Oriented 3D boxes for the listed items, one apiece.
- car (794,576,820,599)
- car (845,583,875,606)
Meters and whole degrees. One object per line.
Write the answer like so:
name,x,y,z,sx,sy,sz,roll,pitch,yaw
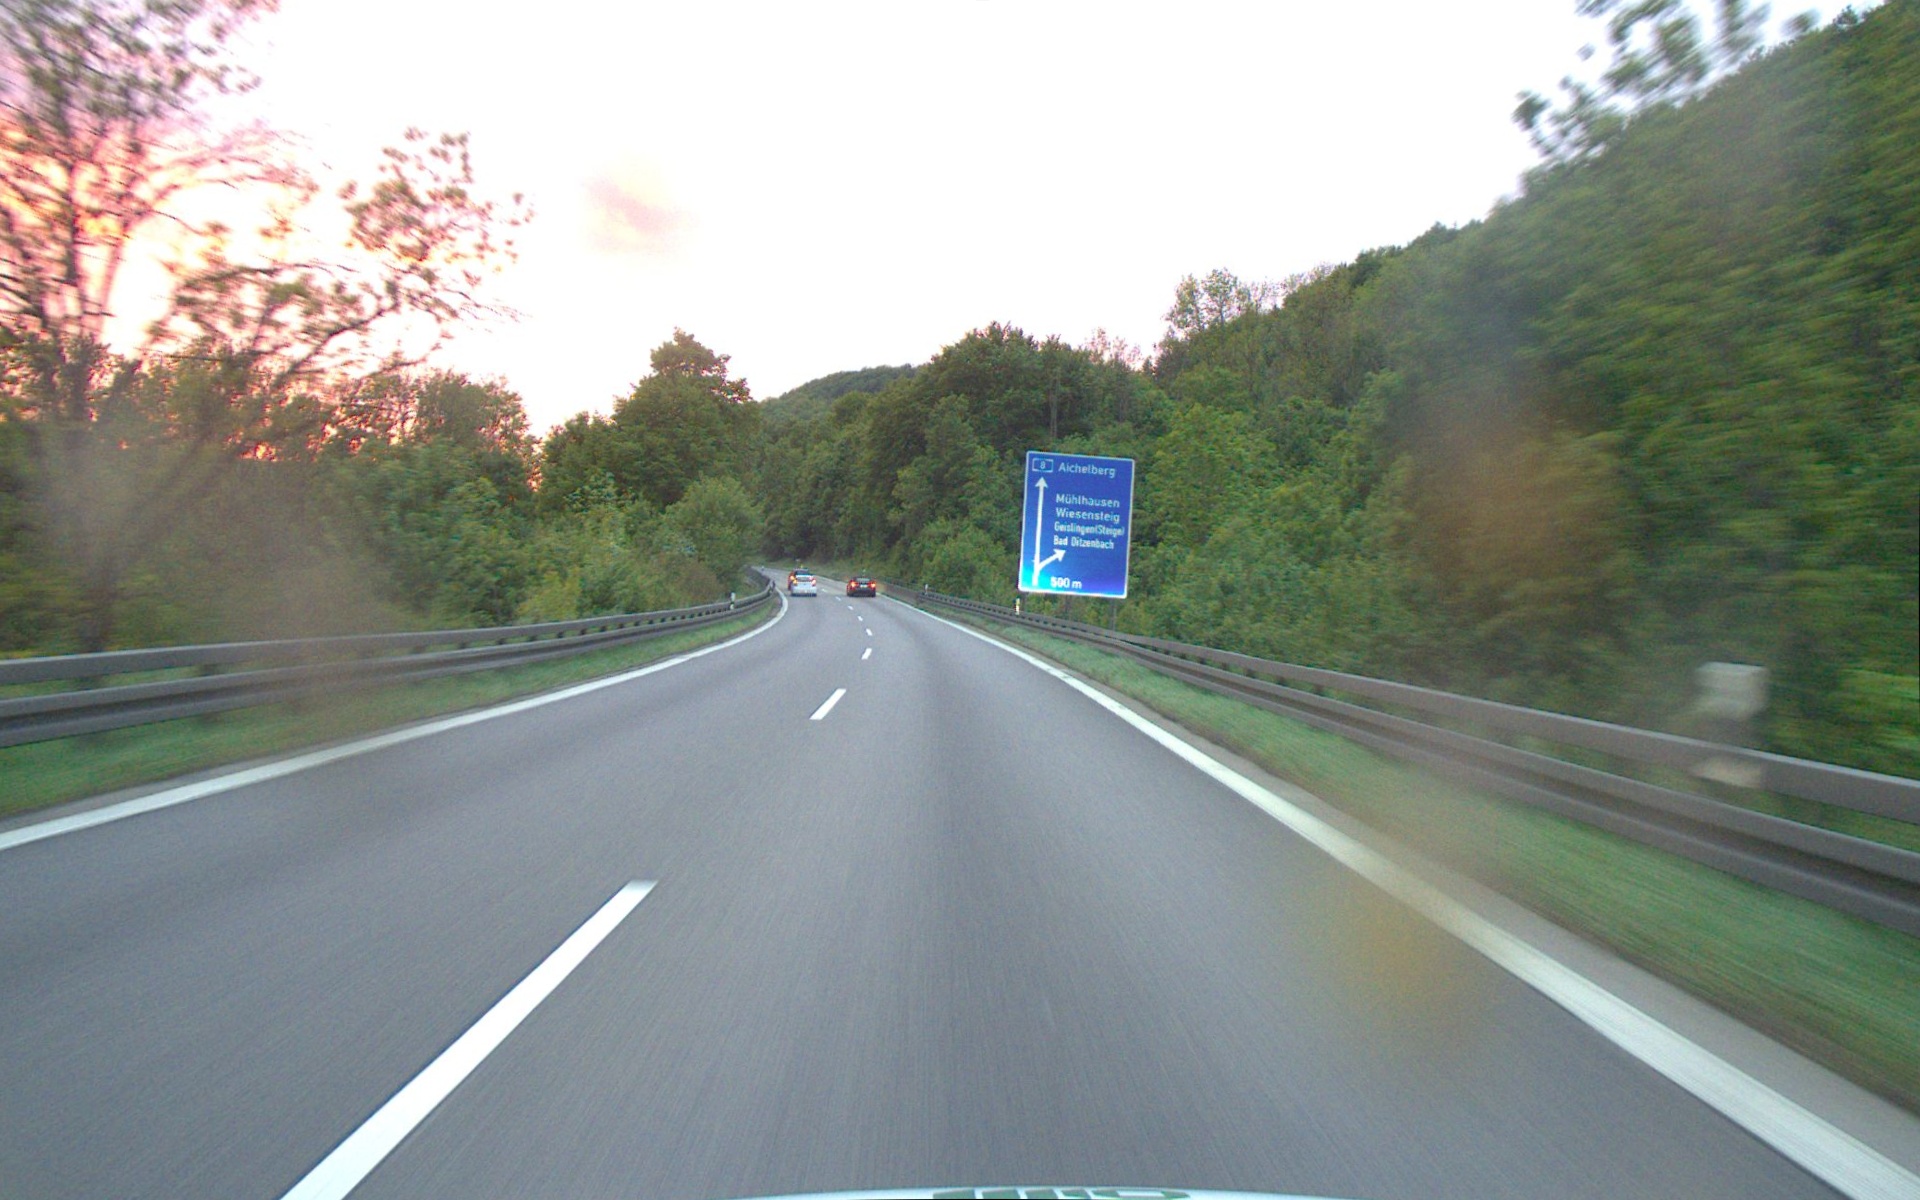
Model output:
car,-10.797,-0.885,116.874,1.684,1.527,3.997,2,-1,-4
car,-7.108,-0.379,118.132,1.840,1.492,3.999,-3,0,-1
